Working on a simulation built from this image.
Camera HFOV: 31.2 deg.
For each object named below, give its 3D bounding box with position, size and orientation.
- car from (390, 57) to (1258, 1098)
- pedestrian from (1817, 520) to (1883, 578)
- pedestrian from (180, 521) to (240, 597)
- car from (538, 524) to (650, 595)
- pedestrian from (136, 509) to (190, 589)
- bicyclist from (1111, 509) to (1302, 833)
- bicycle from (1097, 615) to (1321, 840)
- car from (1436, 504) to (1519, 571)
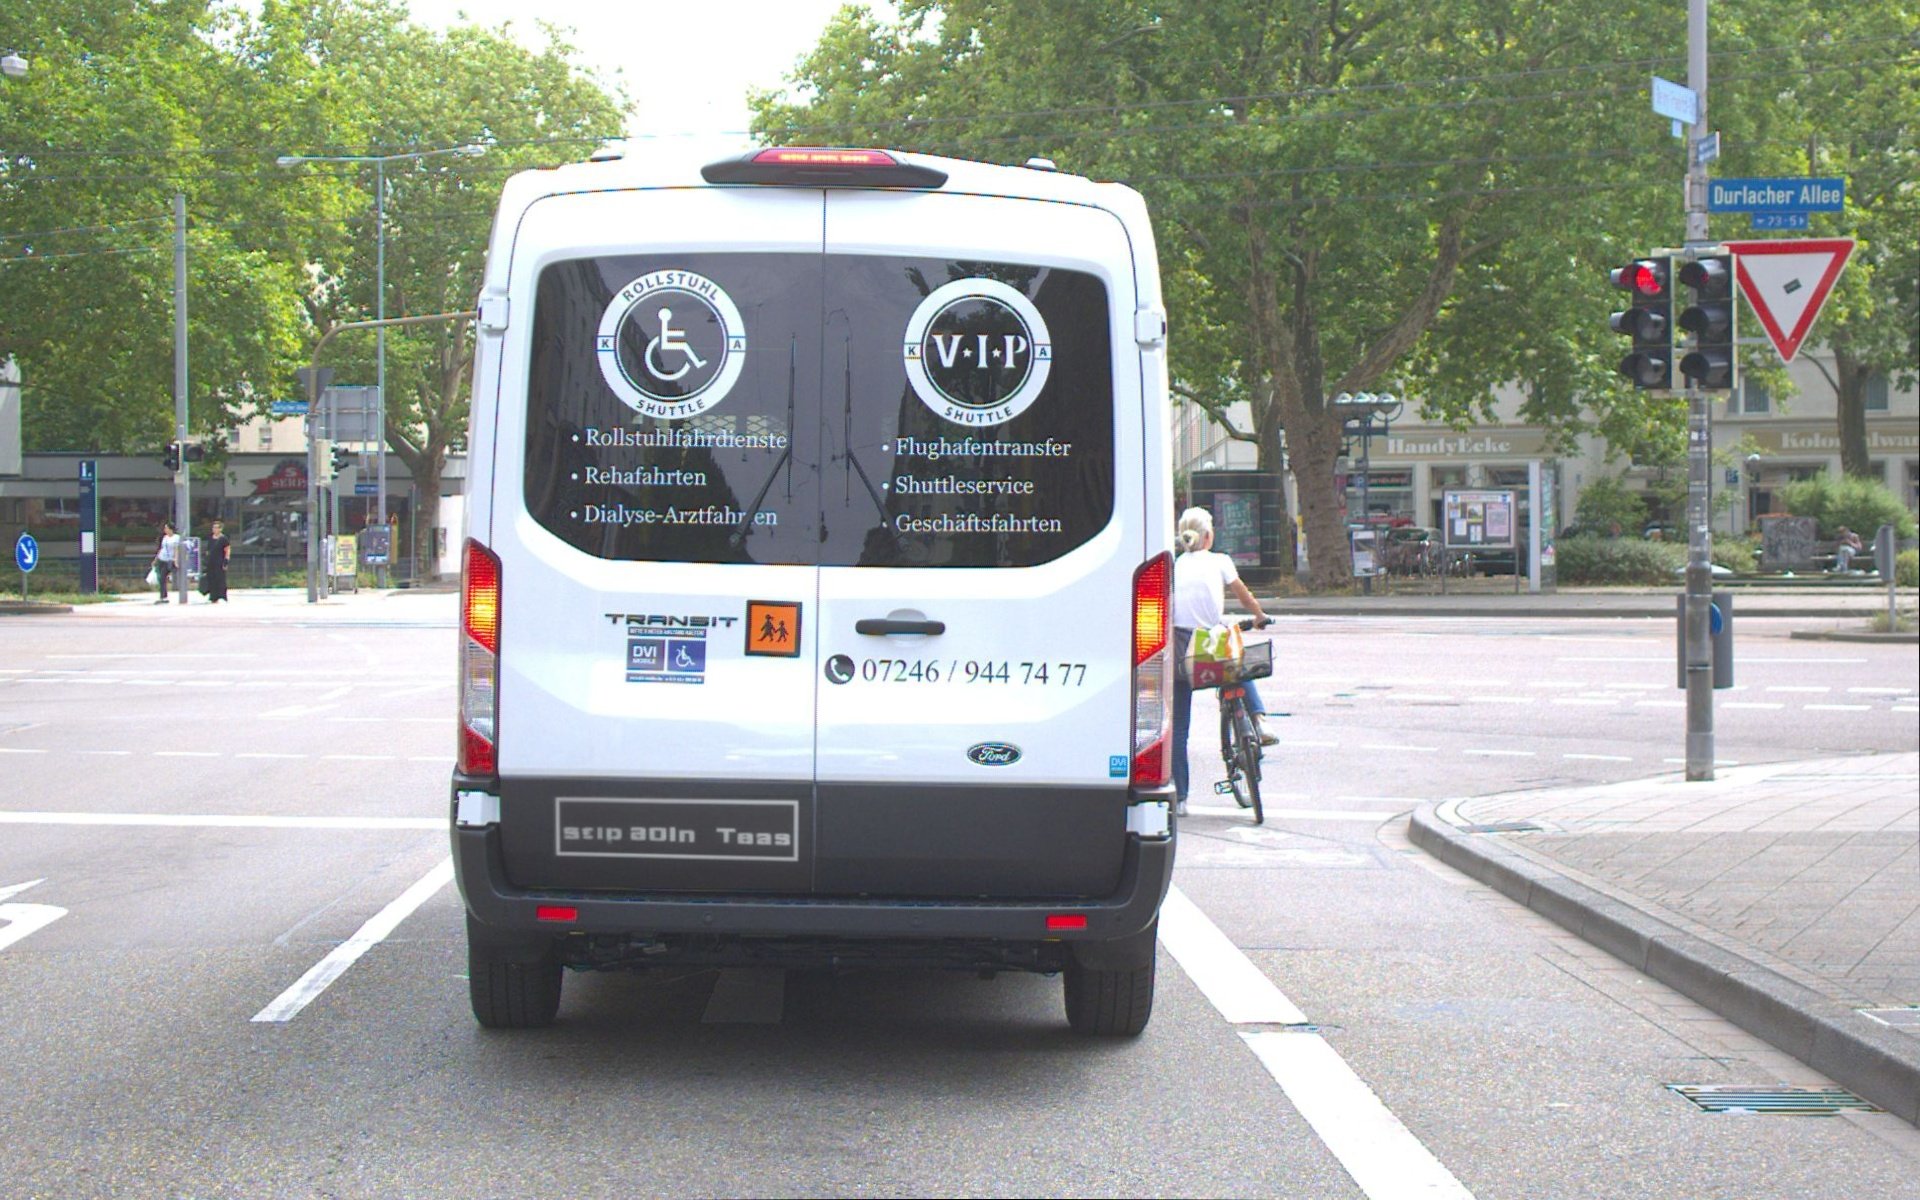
[{"bbox_3d":[-0.473,-0.126,11.158,2.181,2.638,4.629,1,2,-3],"label":"car"},{"bbox_3d":[19.748,-1.134,76.292,1.091,1.232,1.441,-2,0,3],"label":"pedestrian"},{"bbox_3d":[-14.872,-0.814,68.221,0.930,1.509,0.723,0,1,13],"label":"pedestrian"},{"bbox_3d":[-8.003,-0.914,75.457,1.621,1.471,3.999,0,2,6],"label":"car"},{"bbox_3d":[-15.825,-1.015,68.264,0.807,1.567,0.723,0,1,13],"label":"pedestrian"},{"bbox_3d":[1.300,0.357,18.245,0.903,1.677,0.757,0,1,-5],"label":"bicyclist"},{"bbox_3d":[1.296,0.647,18.320,0.902,1.071,1.970,0,1,-4],"label":"bicycle"},{"bbox_3d":[15.089,-1.835,100.351,1.994,1.924,4.000,0,1,3],"label":"car"}]
